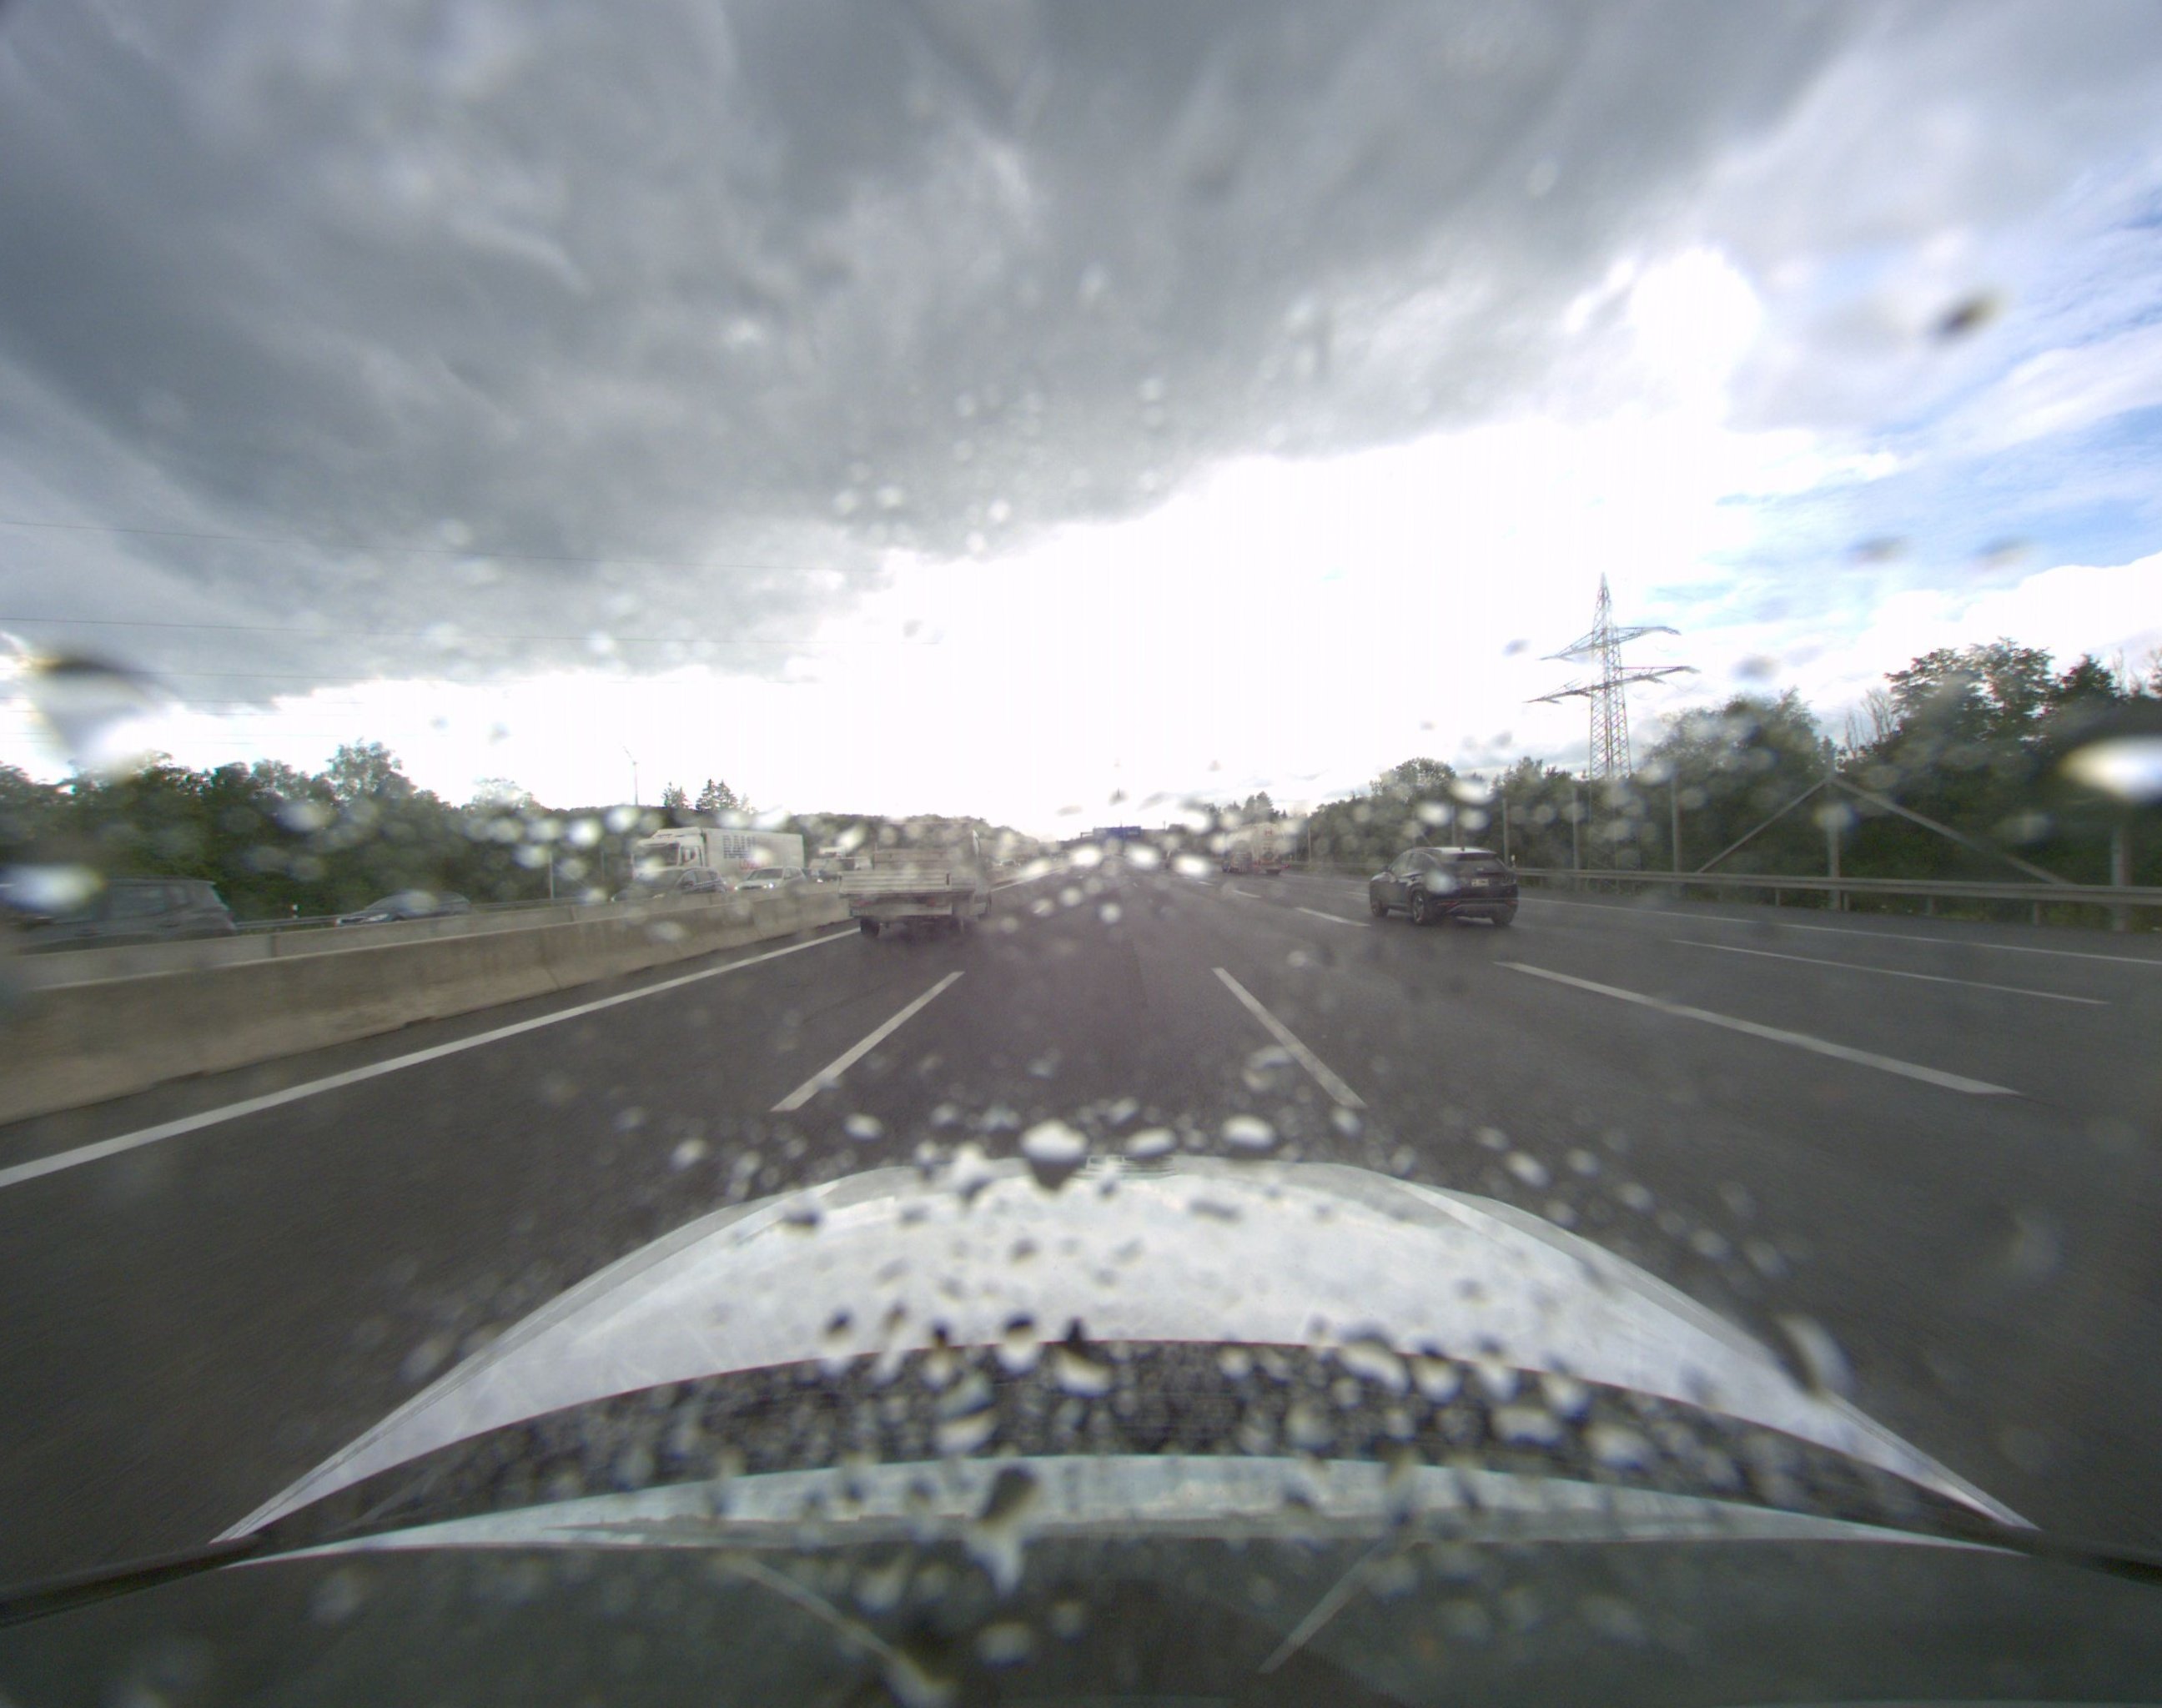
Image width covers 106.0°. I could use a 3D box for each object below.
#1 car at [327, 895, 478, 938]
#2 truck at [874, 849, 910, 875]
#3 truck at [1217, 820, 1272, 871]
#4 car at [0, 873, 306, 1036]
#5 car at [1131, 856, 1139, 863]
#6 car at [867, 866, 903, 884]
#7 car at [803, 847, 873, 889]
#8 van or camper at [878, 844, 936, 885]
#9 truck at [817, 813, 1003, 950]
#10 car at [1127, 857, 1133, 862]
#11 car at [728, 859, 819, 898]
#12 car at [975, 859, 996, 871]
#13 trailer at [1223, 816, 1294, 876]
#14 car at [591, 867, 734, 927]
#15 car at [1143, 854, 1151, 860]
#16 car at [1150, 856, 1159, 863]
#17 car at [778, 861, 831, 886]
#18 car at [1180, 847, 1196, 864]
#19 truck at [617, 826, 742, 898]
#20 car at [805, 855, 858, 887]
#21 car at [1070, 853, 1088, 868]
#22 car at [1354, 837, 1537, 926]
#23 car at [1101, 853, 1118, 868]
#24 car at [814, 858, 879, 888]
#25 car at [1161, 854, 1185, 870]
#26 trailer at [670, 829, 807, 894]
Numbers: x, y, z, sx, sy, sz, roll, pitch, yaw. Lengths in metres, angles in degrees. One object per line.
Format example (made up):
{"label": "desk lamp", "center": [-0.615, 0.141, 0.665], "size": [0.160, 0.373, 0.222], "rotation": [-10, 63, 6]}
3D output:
{"label": "car", "center": [-24.136, 2.190, 29.191], "size": [1.640, 1.208, 4.363], "rotation": [-1, 0, 2]}
{"label": "truck", "center": [-27.638, 1.115, 119.442], "size": [3.126, 3.582, 7.668], "rotation": [-1, 0, 2]}
{"label": "truck", "center": [13.863, -0.710, 69.765], "size": [3.320, 4.080, 8.275], "rotation": [-1, 0, 2]}
{"label": "car", "center": [-13.191, 1.202, 10.452], "size": [1.863, 1.759, 4.708], "rotation": [-1, 0, 2]}
{"label": "car", "center": [13.954, 1.441, 210.207], "size": [2.037, 1.699, 4.003], "rotation": [-1, 0, 3]}
{"label": "car", "center": [-18.853, 1.995, 78.691], "size": [1.906, 1.544, 5.506], "rotation": [-1, 0, 2]}
{"label": "car", "center": [-24.553, 1.366, 82.981], "size": [3.190, 3.947, 11.662], "rotation": [-1, 0, 2]}
{"label": "van or camper", "center": [-12.104, 0.708, 57.395], "size": [2.170, 2.705, 7.524], "rotation": [-1, 0, 2]}
{"label": "truck", "center": [-3.392, 0.470, 18.115], "size": [2.344, 2.408, 7.361], "rotation": [-1, 0, 2]}
{"label": "car", "center": [15.124, 1.681, 251.881], "size": [1.861, 1.728, 4.002], "rotation": [-1, 0, 2]}
{"label": "car", "center": [-13.114, 1.008, 35.112], "size": [1.843, 1.477, 5.083], "rotation": [-1, 0, 2]}
{"label": "car", "center": [-10.963, 1.276, 93.666], "size": [1.683, 1.334, 4.373], "rotation": [-1, 0, 2]}
{"label": "trailer", "center": [13.666, -0.592, 63.873], "size": [3.320, 4.175, 11.843], "rotation": [-1, 0, 2]}
{"label": "car", "center": [-13.135, 1.278, 25.954], "size": [1.887, 1.624, 4.847], "rotation": [-1, 0, 2]}
{"label": "car", "center": [19.860, 0.896, 244.658], "size": [2.037, 1.699, 4.003], "rotation": [-1, 0, 3]}
{"label": "car", "center": [18.743, 1.383, 208.678], "size": [1.986, 1.750, 4.498], "rotation": [-1, 0, 2]}
{"label": "car", "center": [-16.653, 1.152, 49.246], "size": [1.745, 1.410, 4.002], "rotation": [-1, 0, 2]}
{"label": "car", "center": [16.495, 0.248, 125.752], "size": [2.037, 2.498, 4.002], "rotation": [-1, 0, 2]}
{"label": "truck", "center": [-20.696, 0.375, 42.465], "size": [3.032, 3.406, 6.530], "rotation": [-1, 0, 2]}
{"label": "car", "center": [-16.797, 1.121, 55.000], "size": [2.200, 2.001, 4.002], "rotation": [-1, 0, 2]}
{"label": "car", "center": [-0.247, 0.810, 104.039], "size": [2.037, 1.699, 4.002], "rotation": [-1, 0, 2]}
{"label": "car", "center": [7.841, 0.513, 18.160], "size": [2.037, 1.699, 5.011], "rotation": [0, 0, 3]}
{"label": "car", "center": [3.529, 0.818, 102.096], "size": [2.038, 1.699, 4.001], "rotation": [-1, 0, 1]}
{"label": "car", "center": [-12.636, 1.006, 44.196], "size": [1.873, 1.477, 5.173], "rotation": [-1, 0, 2]}
{"label": "car", "center": [10.363, 0.934, 91.887], "size": [2.092, 1.699, 3.998], "rotation": [-1, 0, -2]}
{"label": "trailer", "center": [-20.426, 0.391, 49.799], "size": [3.013, 3.433, 11.781], "rotation": [-1, 0, 2]}
